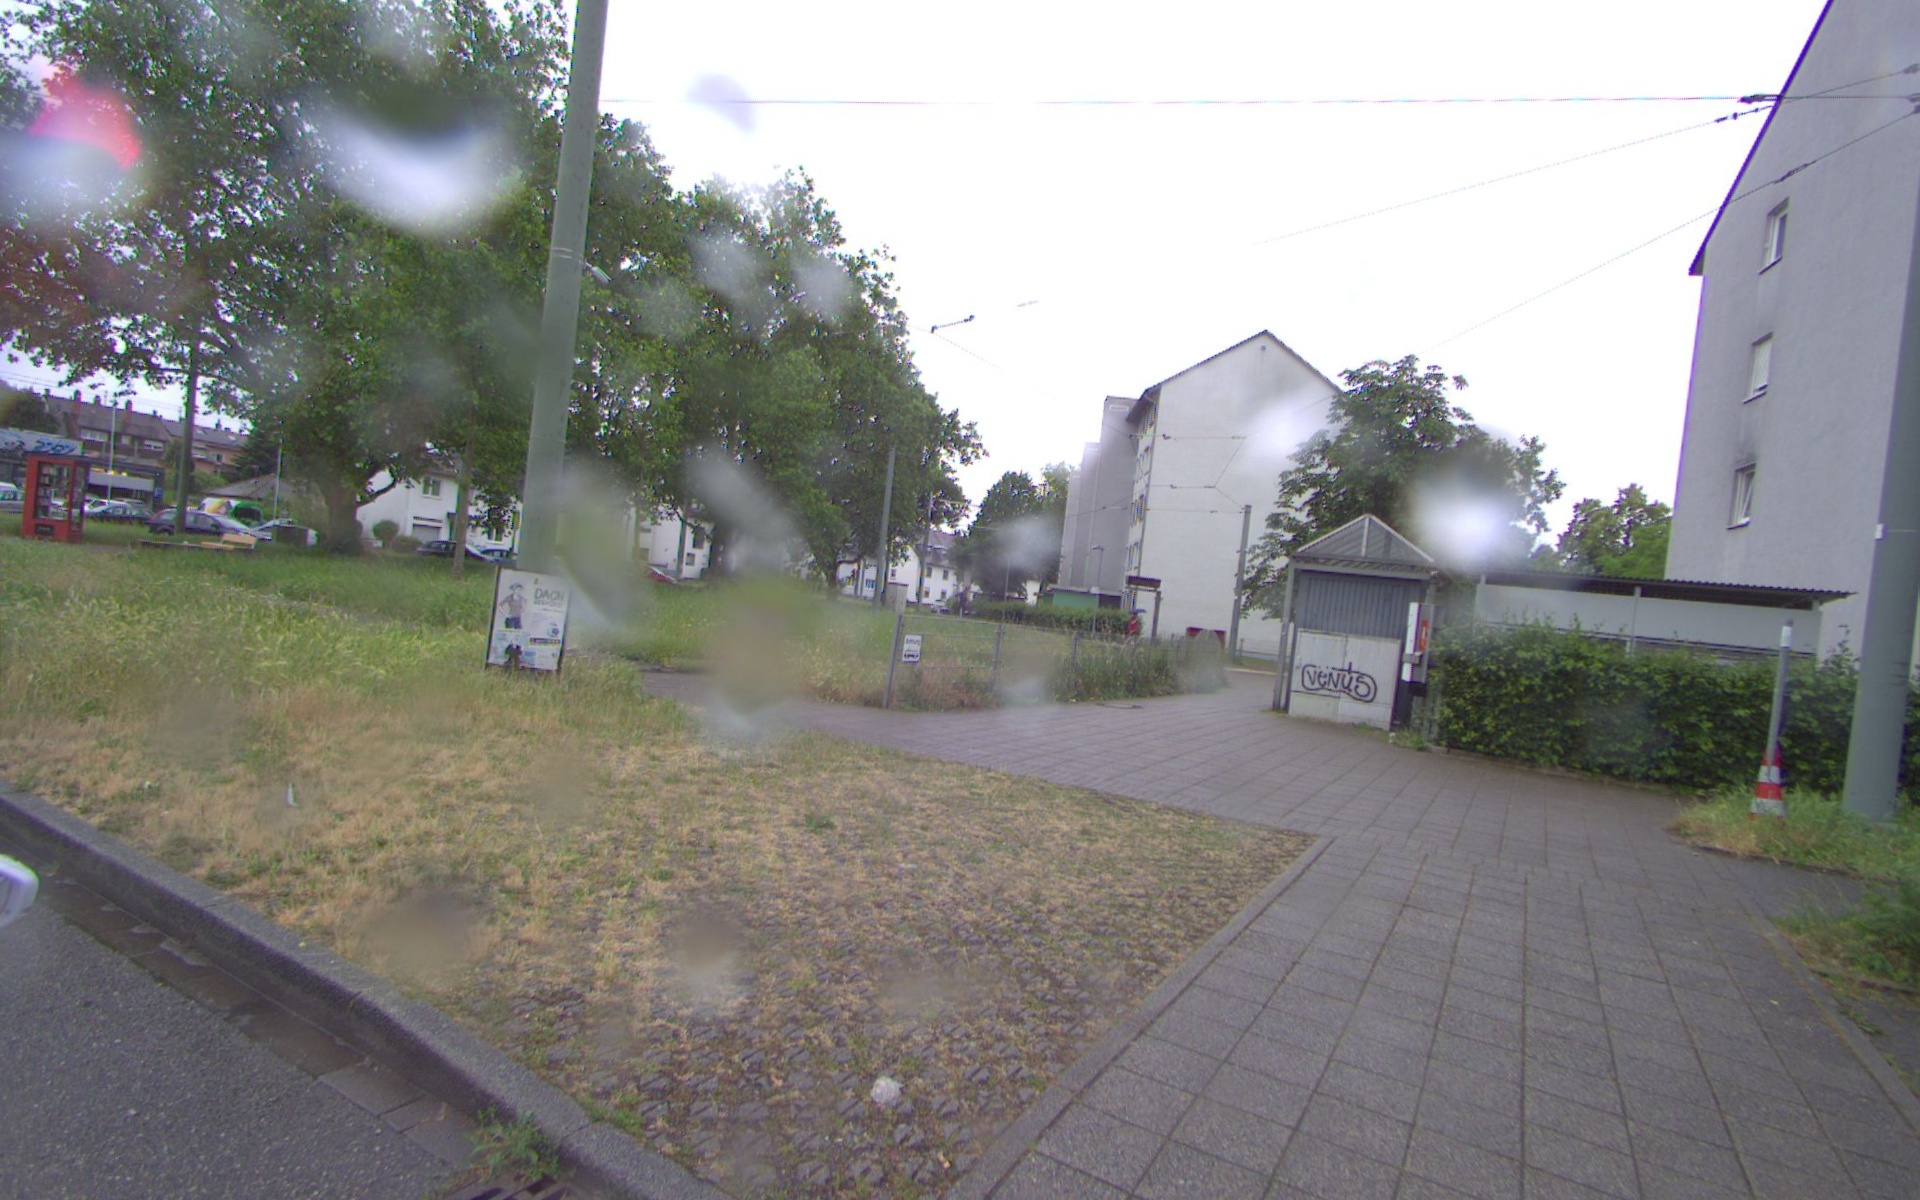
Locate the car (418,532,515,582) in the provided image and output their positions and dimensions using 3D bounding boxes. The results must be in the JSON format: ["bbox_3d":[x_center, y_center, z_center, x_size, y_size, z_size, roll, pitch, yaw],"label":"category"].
[{"bbox_3d":[-23.736,-2.037,48.525,3.710,1.819,1.806,8,-2,-15],"label":"car"}]

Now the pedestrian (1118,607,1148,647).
[{"bbox_3d":[7.798,1.211,45.363,0.806,1.674,0.889,6,-1,41],"label":"pedestrian"}]

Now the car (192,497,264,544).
[{"bbox_3d":[-46.751,-5.053,64.262,4.280,2.471,1.998,6,-2,31],"label":"car"}]

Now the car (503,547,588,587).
[{"bbox_3d":[-21.985,-1.723,53.495,3.855,1.512,1.806,8,-2,-15],"label":"car"}]

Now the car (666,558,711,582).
[{"bbox_3d":[-25.720,-2.796,95.520,1.859,1.679,3.692,6,-2,32],"label":"car"}]

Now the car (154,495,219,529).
[{"bbox_3d":[-62.086,-7.041,80.770,3.924,2.037,2.003,7,-2,14],"label":"car"}]

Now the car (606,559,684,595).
[{"bbox_3d":[-18.635,-1.329,59.585,3.842,1.513,1.812,7,-2,3],"label":"car"}]

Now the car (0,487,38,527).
[{"bbox_3d":[-54.730,-5.453,56.347,1.966,1.973,3.997,6,-2,30],"label":"car"}]

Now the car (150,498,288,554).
[{"bbox_3d":[-29.198,-2.892,39.779,3.855,1.512,1.806,8,-2,-15],"label":"car"}]

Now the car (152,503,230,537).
[{"bbox_3d":[-55.472,-5.761,72.599,1.816,1.658,3.995,6,-2,32],"label":"car"}]

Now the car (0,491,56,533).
[{"bbox_3d":[-46.588,-4.428,48.722,1.859,1.720,3.692,6,-2,32],"label":"car"}]

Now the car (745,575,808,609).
[{"bbox_3d":[-12.749,-0.542,70.098,3.843,1.785,1.812,7,-2,0],"label":"car"}]

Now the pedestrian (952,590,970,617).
[{"bbox_3d":[0.057,0.286,73.436,1.022,1.811,0.818,7,-1,-3],"label":"pedestrian"}]

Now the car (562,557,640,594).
[{"bbox_3d":[-20.118,-1.355,56.528,3.855,1.512,1.806,8,-2,-15],"label":"car"}]

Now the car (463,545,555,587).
[{"bbox_3d":[-22.814,-1.701,51.059,3.855,1.512,1.806,8,-2,-15],"label":"car"}]

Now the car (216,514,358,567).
[{"bbox_3d":[-25.167,-2.203,37.705,1.819,1.300,3.987,6,-3,39],"label":"car"}]

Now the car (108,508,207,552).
[{"bbox_3d":[-43.433,-3.779,54.505,1.859,1.720,3.692,6,-2,32],"label":"car"}]
